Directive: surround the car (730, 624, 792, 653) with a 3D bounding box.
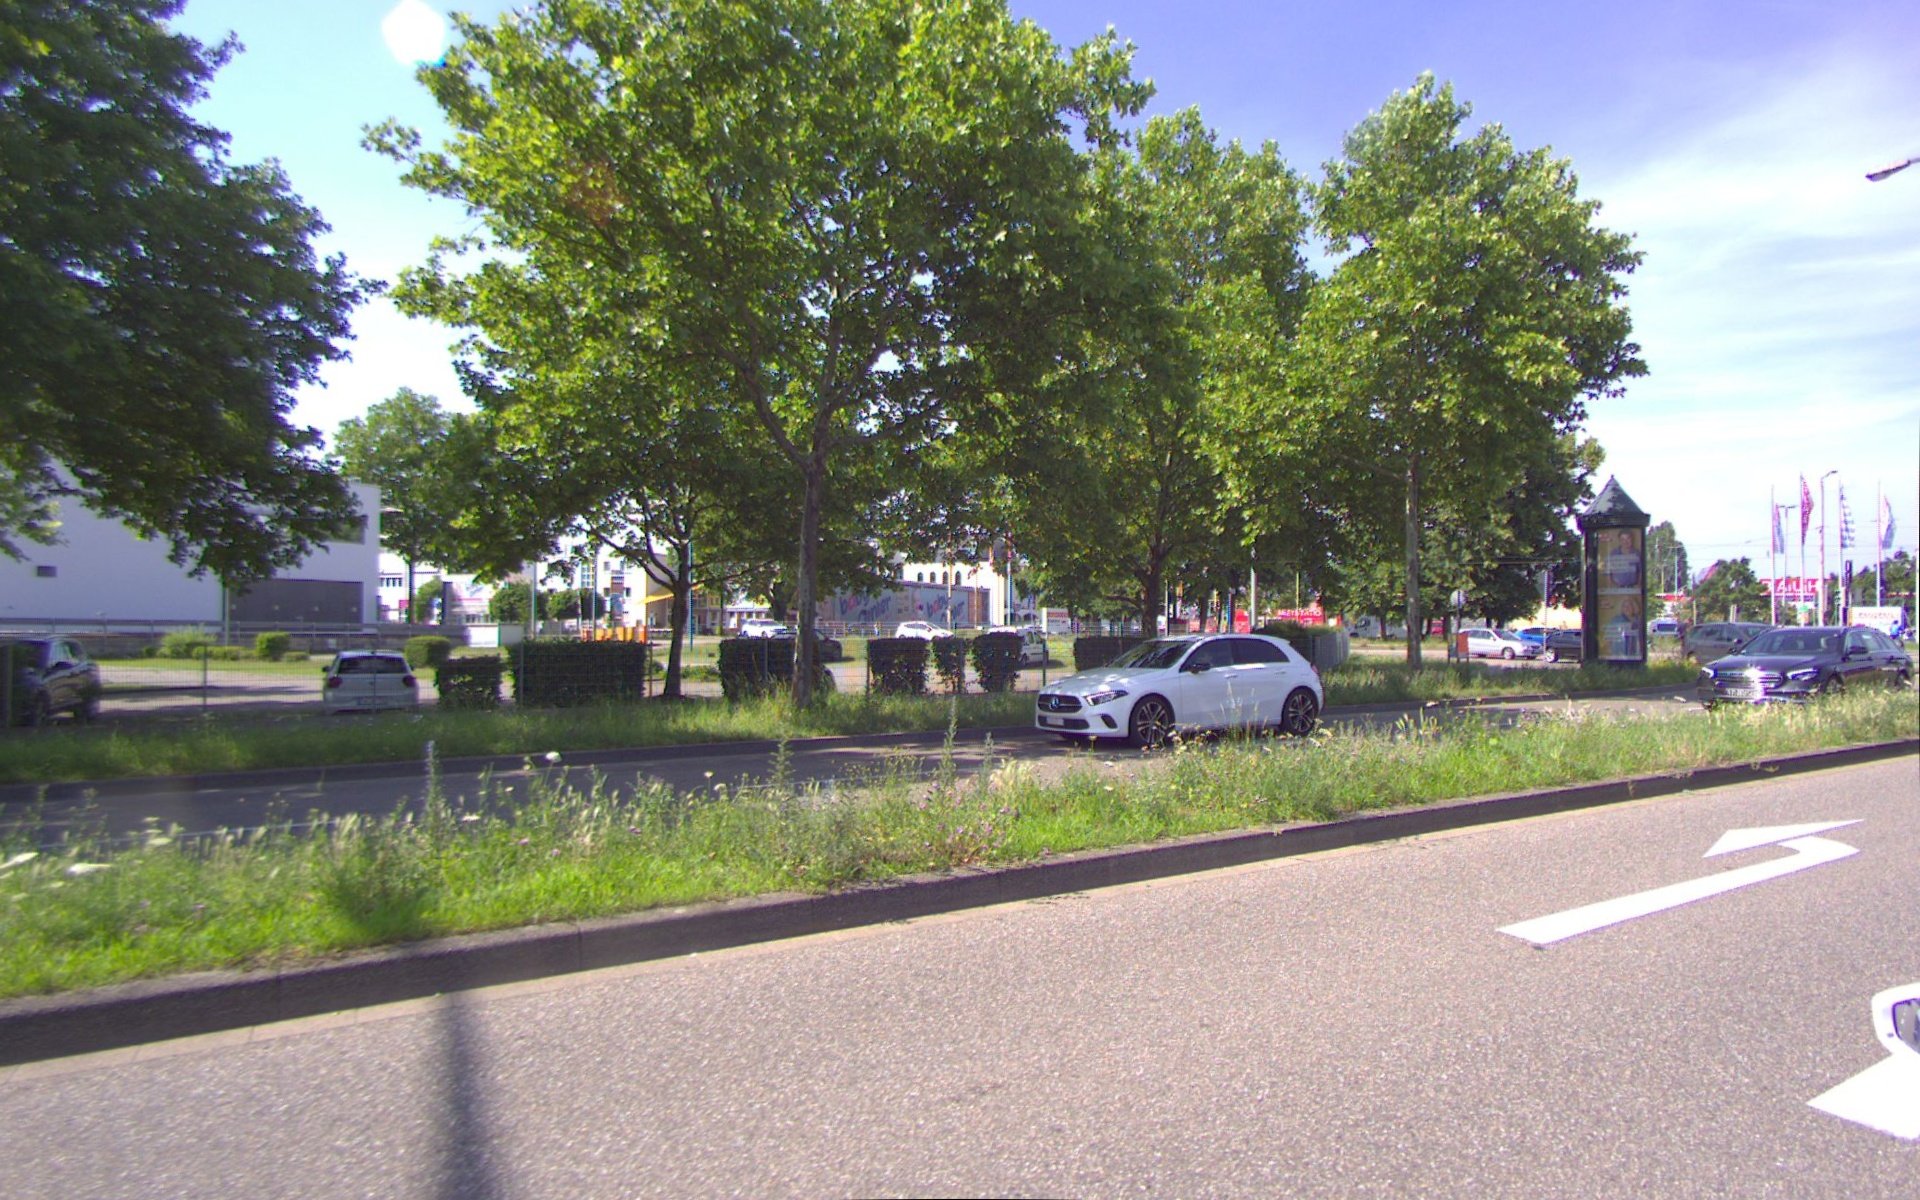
[{"bbox_3d":[-14.210,2.771,71.720,3.925,1.929,1.845,-1,0,25],"label":"car"}]

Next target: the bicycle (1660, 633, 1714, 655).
[{"bbox_3d":[34.151,2.069,47.222,1.917,0.996,0.788,-1,0,24],"label":"bicycle"}]

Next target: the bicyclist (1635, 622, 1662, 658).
[{"bbox_3d":[32.273,1.874,47.108,0.883,1.668,0.787,-1,0,24],"label":"bicyclist"}]

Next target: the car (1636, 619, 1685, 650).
[{"bbox_3d":[59.087,2.880,84.788,1.960,2.566,4.642,-1,-2,16],"label":"car"}]

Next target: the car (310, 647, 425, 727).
[{"bbox_3d":[-12.696,1.776,21.423,1.787,1.432,3.961,3,-2,-35],"label":"car"}]

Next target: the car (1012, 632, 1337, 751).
[{"bbox_3d":[2.995,1.173,13.801,4.308,1.416,1.779,2,-3,-31],"label":"car"}]

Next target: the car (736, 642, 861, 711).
[{"bbox_3d":[-4.097,1.832,25.042,1.788,1.514,3.968,1,-2,-30],"label":"car"}]

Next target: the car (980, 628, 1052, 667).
[{"bbox_3d":[2.628,2.130,45.963,1.961,1.687,4.845,-1,-2,21],"label":"car"}]

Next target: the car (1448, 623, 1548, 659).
[{"bbox_3d":[25.311,1.912,47.433,1.695,1.624,4.148,1,-2,-18],"label":"car"}]

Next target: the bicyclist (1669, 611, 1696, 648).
[{"bbox_3d":[34.000,1.384,47.281,0.883,1.738,0.782,-1,1,24],"label":"bicyclist"}]

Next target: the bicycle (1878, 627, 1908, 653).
[{"bbox_3d":[46.706,1.987,50.295,2.225,1.273,0.667,1,-2,-36],"label":"bicycle"}]

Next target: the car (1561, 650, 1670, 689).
[{"bbox_3d":[26.904,2.816,41.394,1.731,1.407,3.999,-1,-1,-3],"label":"car"}]

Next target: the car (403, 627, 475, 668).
[{"bbox_3d":[-22.247,1.990,43.019,1.774,1.525,3.989,-2,0,-14],"label":"car"}]

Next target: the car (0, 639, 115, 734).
[{"bbox_3d":[-17.557,1.542,18.912,1.848,1.622,3.968,1,-2,-31],"label":"car"}]

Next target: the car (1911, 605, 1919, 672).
[{"bbox_3d":[31.662,1.166,31.012,5.152,2.040,1.984,1,-2,-31],"label":"car"}]

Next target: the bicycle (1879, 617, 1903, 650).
[{"bbox_3d":[46.506,1.687,50.188,0.982,1.636,0.667,1,-2,-36],"label":"bicycle"}]

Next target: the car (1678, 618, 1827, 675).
[{"bbox_3d":[26.391,1.541,33.648,1.831,1.773,4.403,0,-2,6],"label":"car"}]

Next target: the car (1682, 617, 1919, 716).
[{"bbox_3d":[15.056,1.108,17.796,4.627,1.551,1.984,1,-2,-31],"label":"car"}]

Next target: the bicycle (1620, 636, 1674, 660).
[{"bbox_3d":[32.214,2.252,47.129,1.972,1.053,0.744,-1,0,24],"label":"bicycle"}]

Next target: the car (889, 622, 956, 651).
[{"bbox_3d":[-2.421,2.369,65.397,3.925,1.795,1.845,-1,0,25],"label":"car"}]
